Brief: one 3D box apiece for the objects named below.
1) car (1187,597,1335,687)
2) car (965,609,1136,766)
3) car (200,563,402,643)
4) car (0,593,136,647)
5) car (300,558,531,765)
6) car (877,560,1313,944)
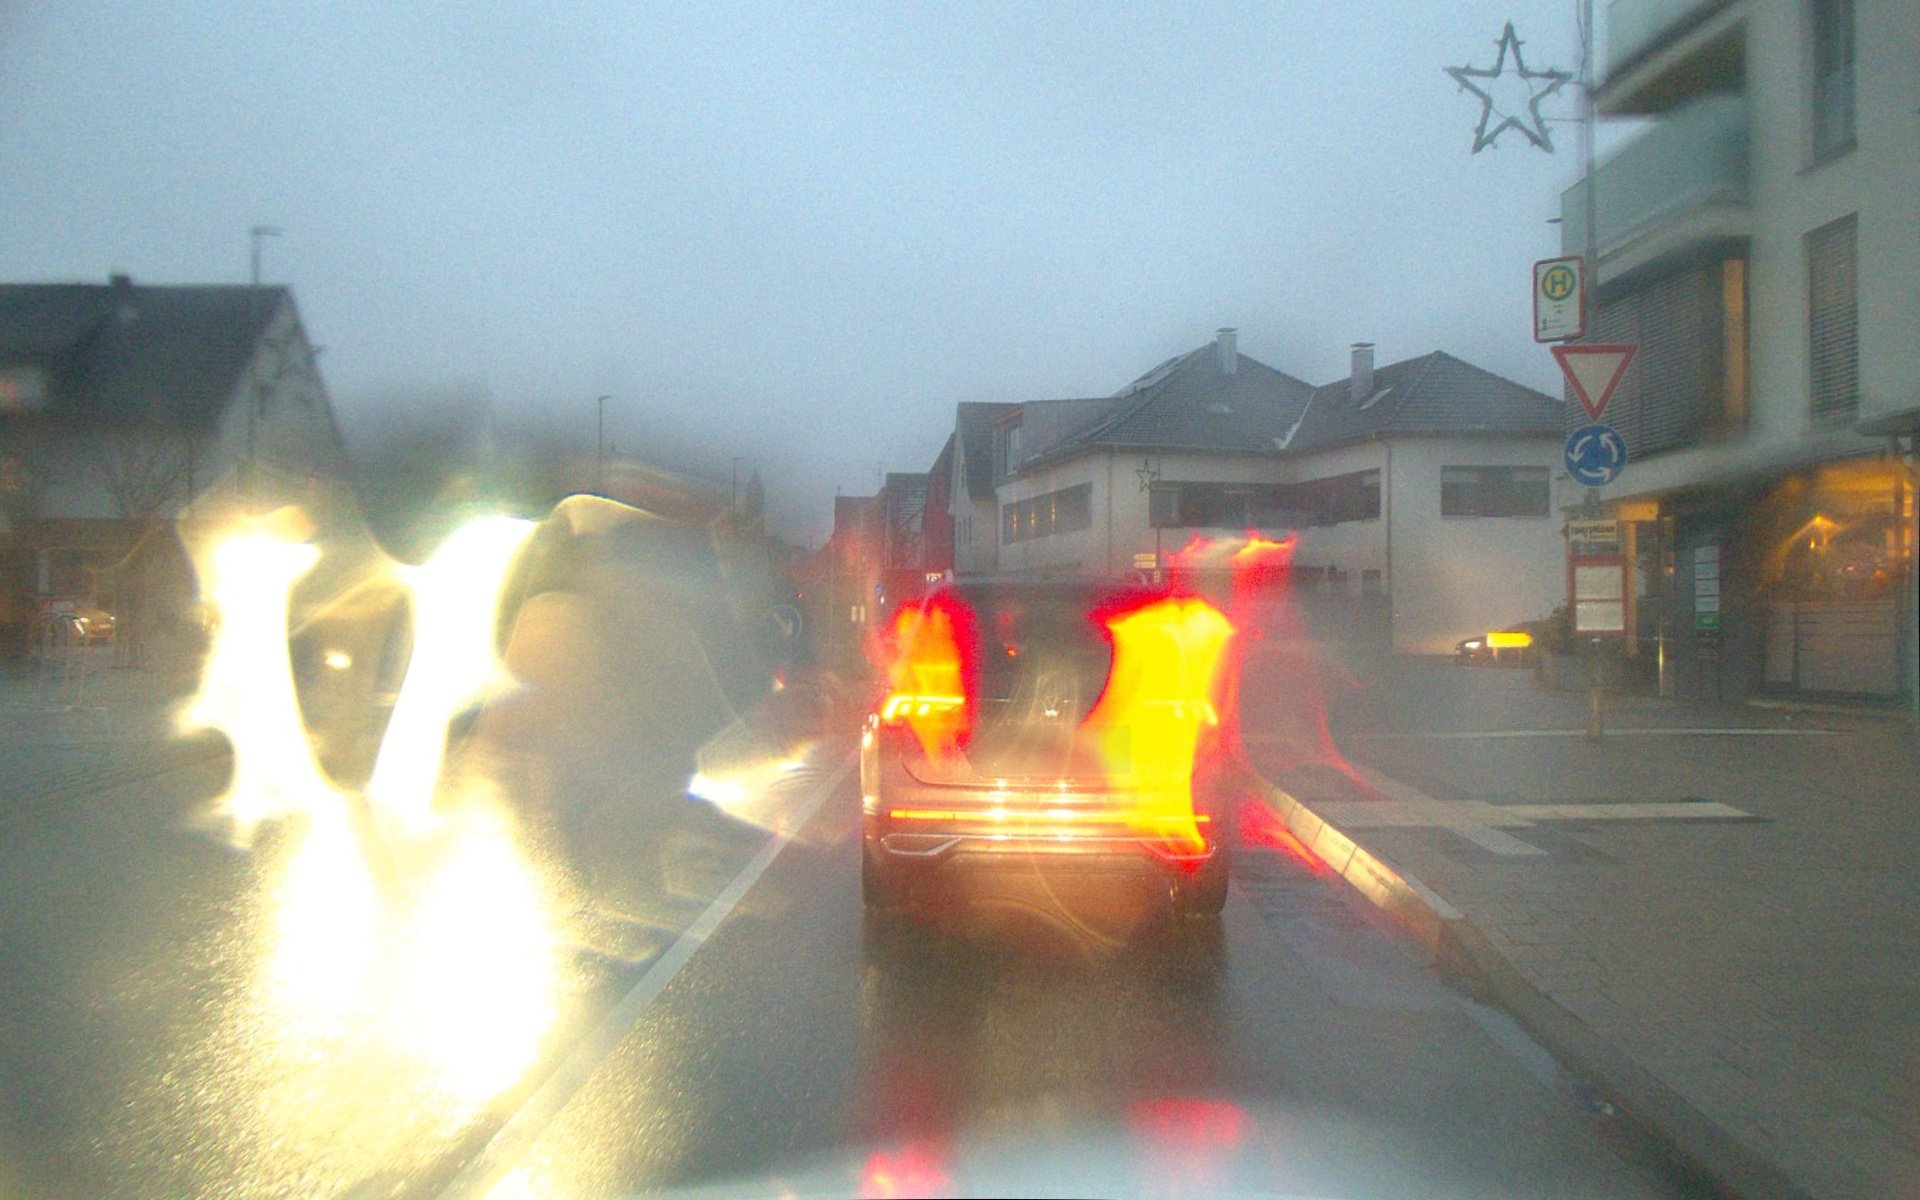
[{"bbox_3d":[6.432,0.851,35.005,1.788,1.656,3.992,-1,1,31],"label":"car"},{"bbox_3d":[0.938,0.907,18.945,1.741,1.566,3.932,0,0,0],"label":"car"},{"bbox_3d":[-17.649,0.077,44.357,4.780,2.049,2.001,1,0,16],"label":"car"},{"bbox_3d":[-25.328,0.560,46.225,3.747,1.447,1.716,0,-2,5],"label":"car"},{"bbox_3d":[-4.906,0.482,15.356,1.748,1.650,3.942,1,0,-15],"label":"car"},{"bbox_3d":[0.541,0.658,9.162,1.877,1.643,3.949,1,0,-2],"label":"car"}]
